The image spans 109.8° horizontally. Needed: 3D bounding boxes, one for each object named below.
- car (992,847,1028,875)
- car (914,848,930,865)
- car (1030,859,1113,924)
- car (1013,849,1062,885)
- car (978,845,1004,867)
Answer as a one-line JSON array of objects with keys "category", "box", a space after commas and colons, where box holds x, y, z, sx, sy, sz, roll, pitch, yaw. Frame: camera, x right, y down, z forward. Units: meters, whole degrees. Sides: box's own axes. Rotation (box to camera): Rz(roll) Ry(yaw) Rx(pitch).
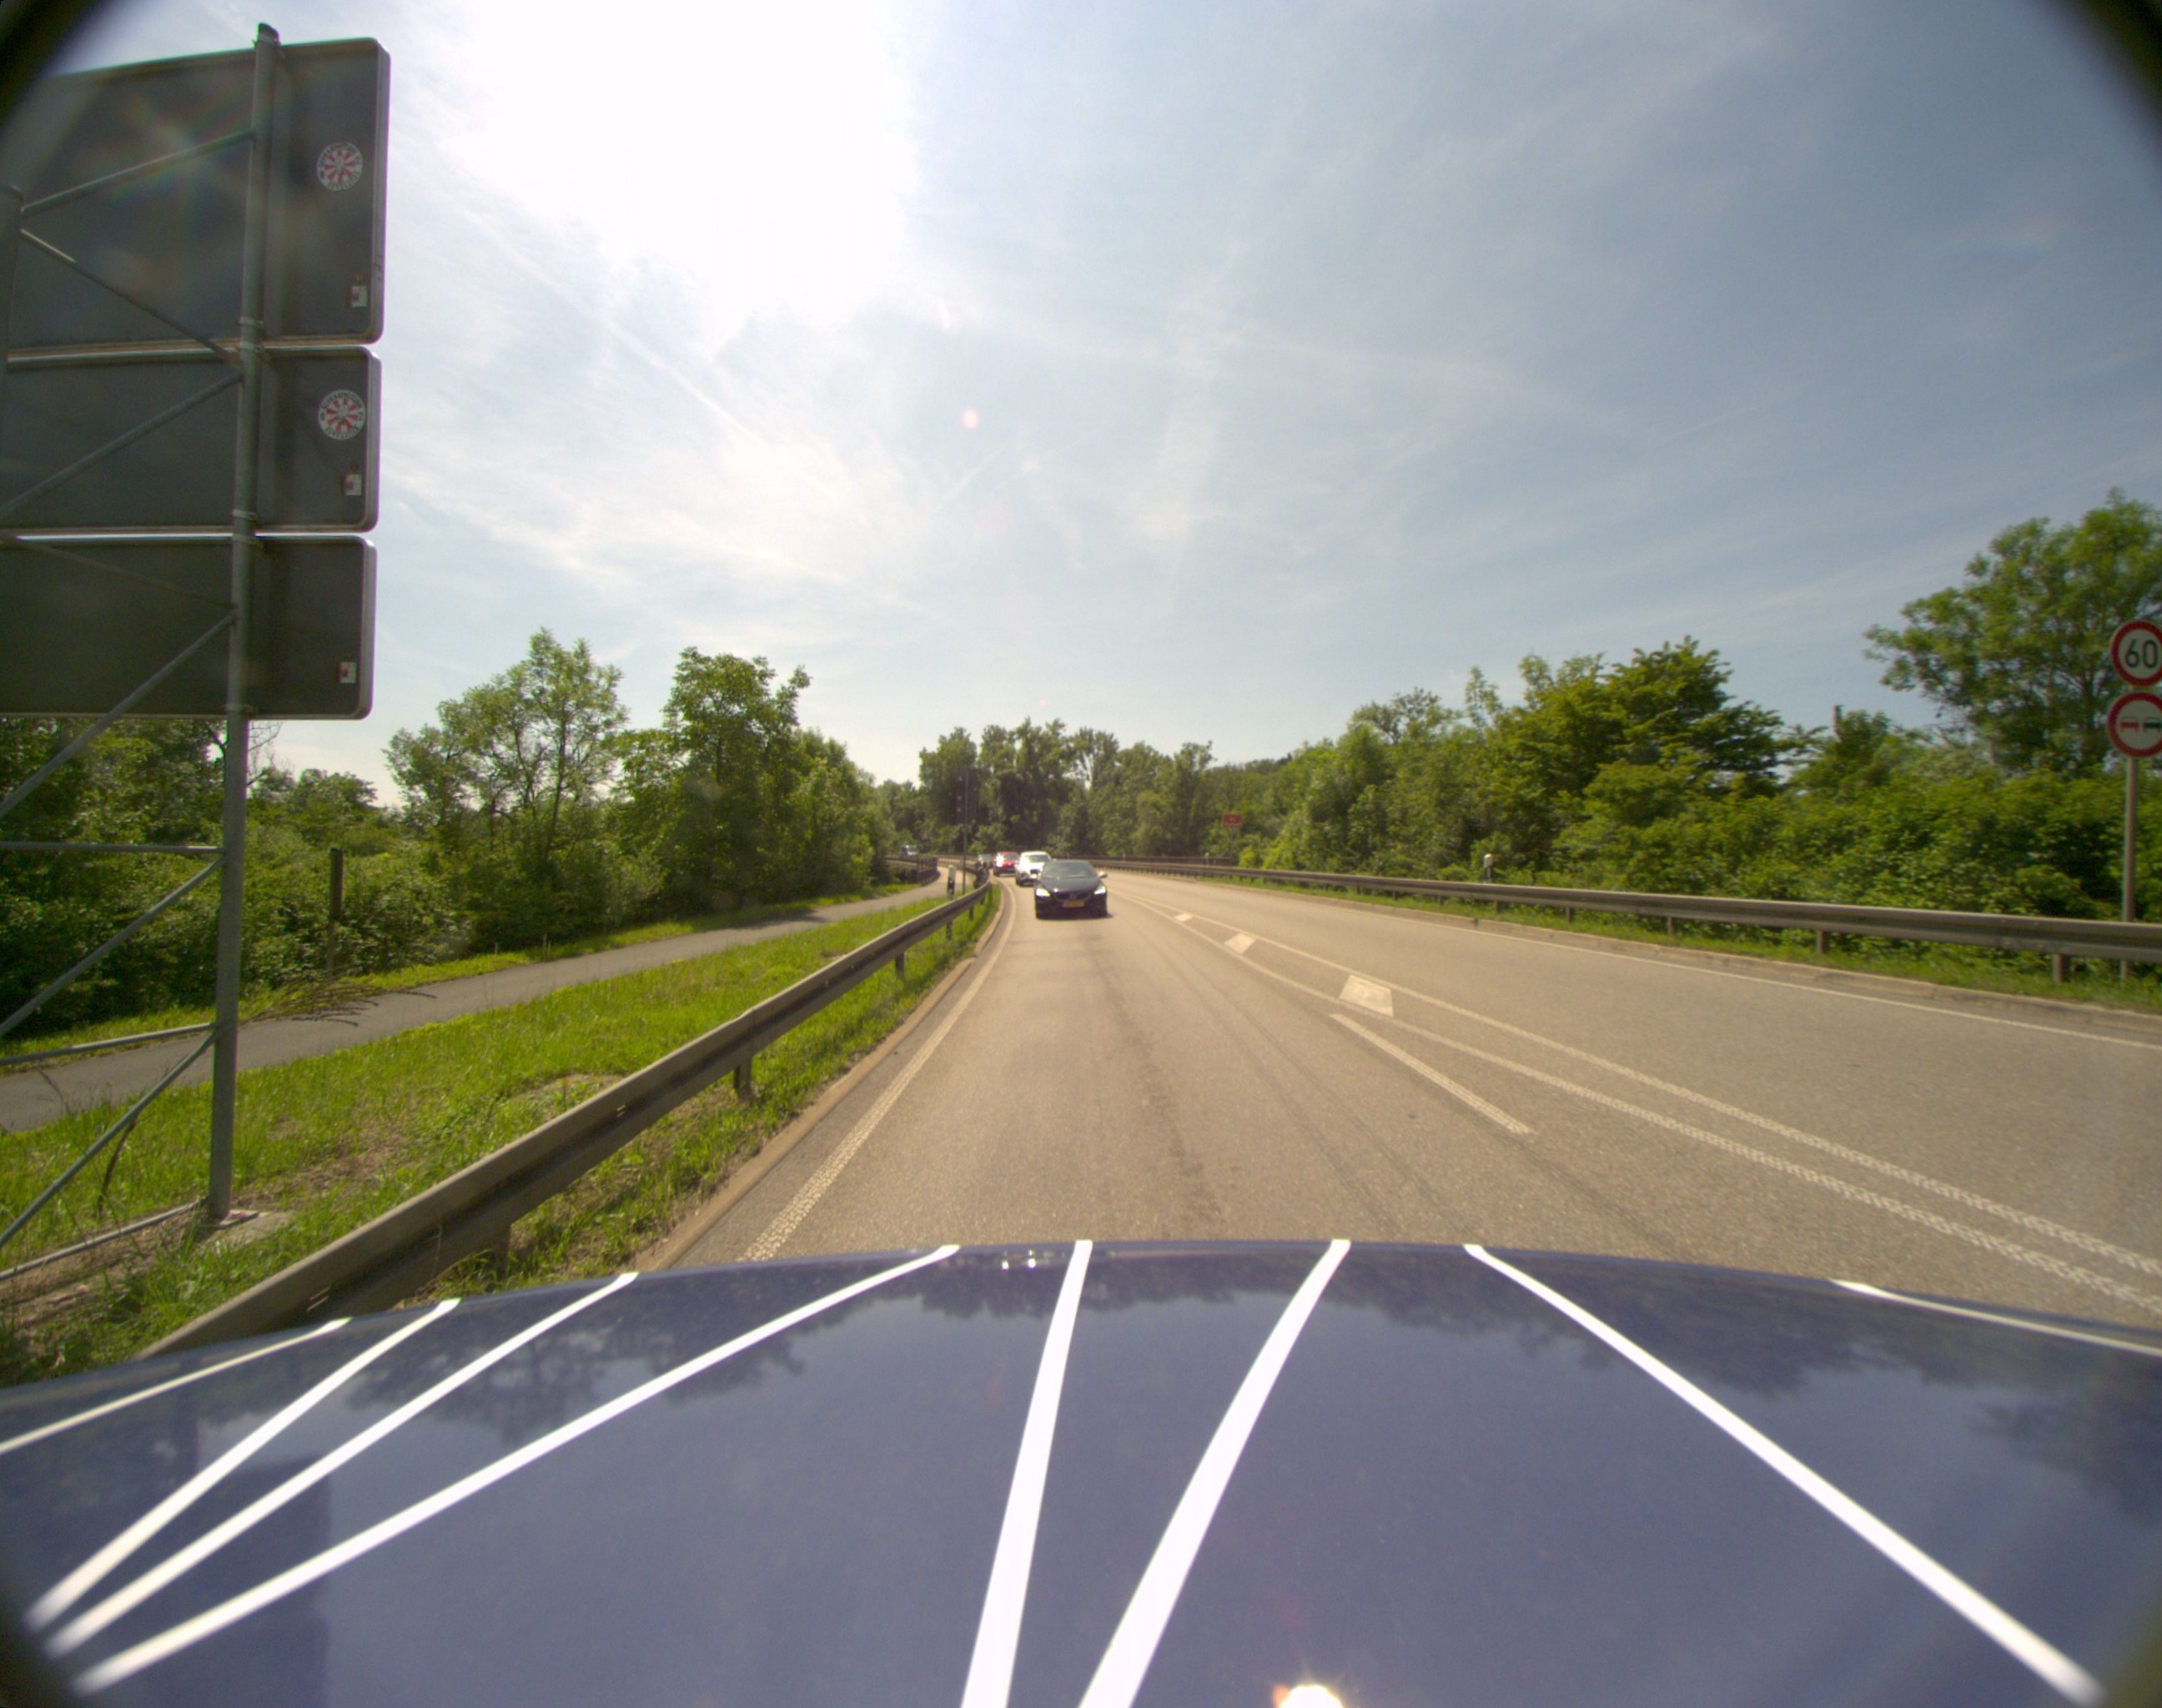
[{"category": "car", "box": [-4.971, 0.476, 52.536, 2.000, 1.765, 3.996, -2, 0, -12]}, {"category": "car", "box": [-26.013, 0.386, 124.004, 2.001, 2.471, 4.851, -3, 2, -17]}, {"category": "car", "box": [-0.339, 0.898, 19.822, 1.910, 1.413, 3.949, -2, 0, -3]}, {"category": "car", "box": [-2.231, 0.627, 37.731, 1.911, 1.638, 3.947, -2, 0, -10]}, {"category": "car", "box": [-8.934, 0.126, 75.080, 2.001, 2.002, 3.994, -3, 2, -13]}]
